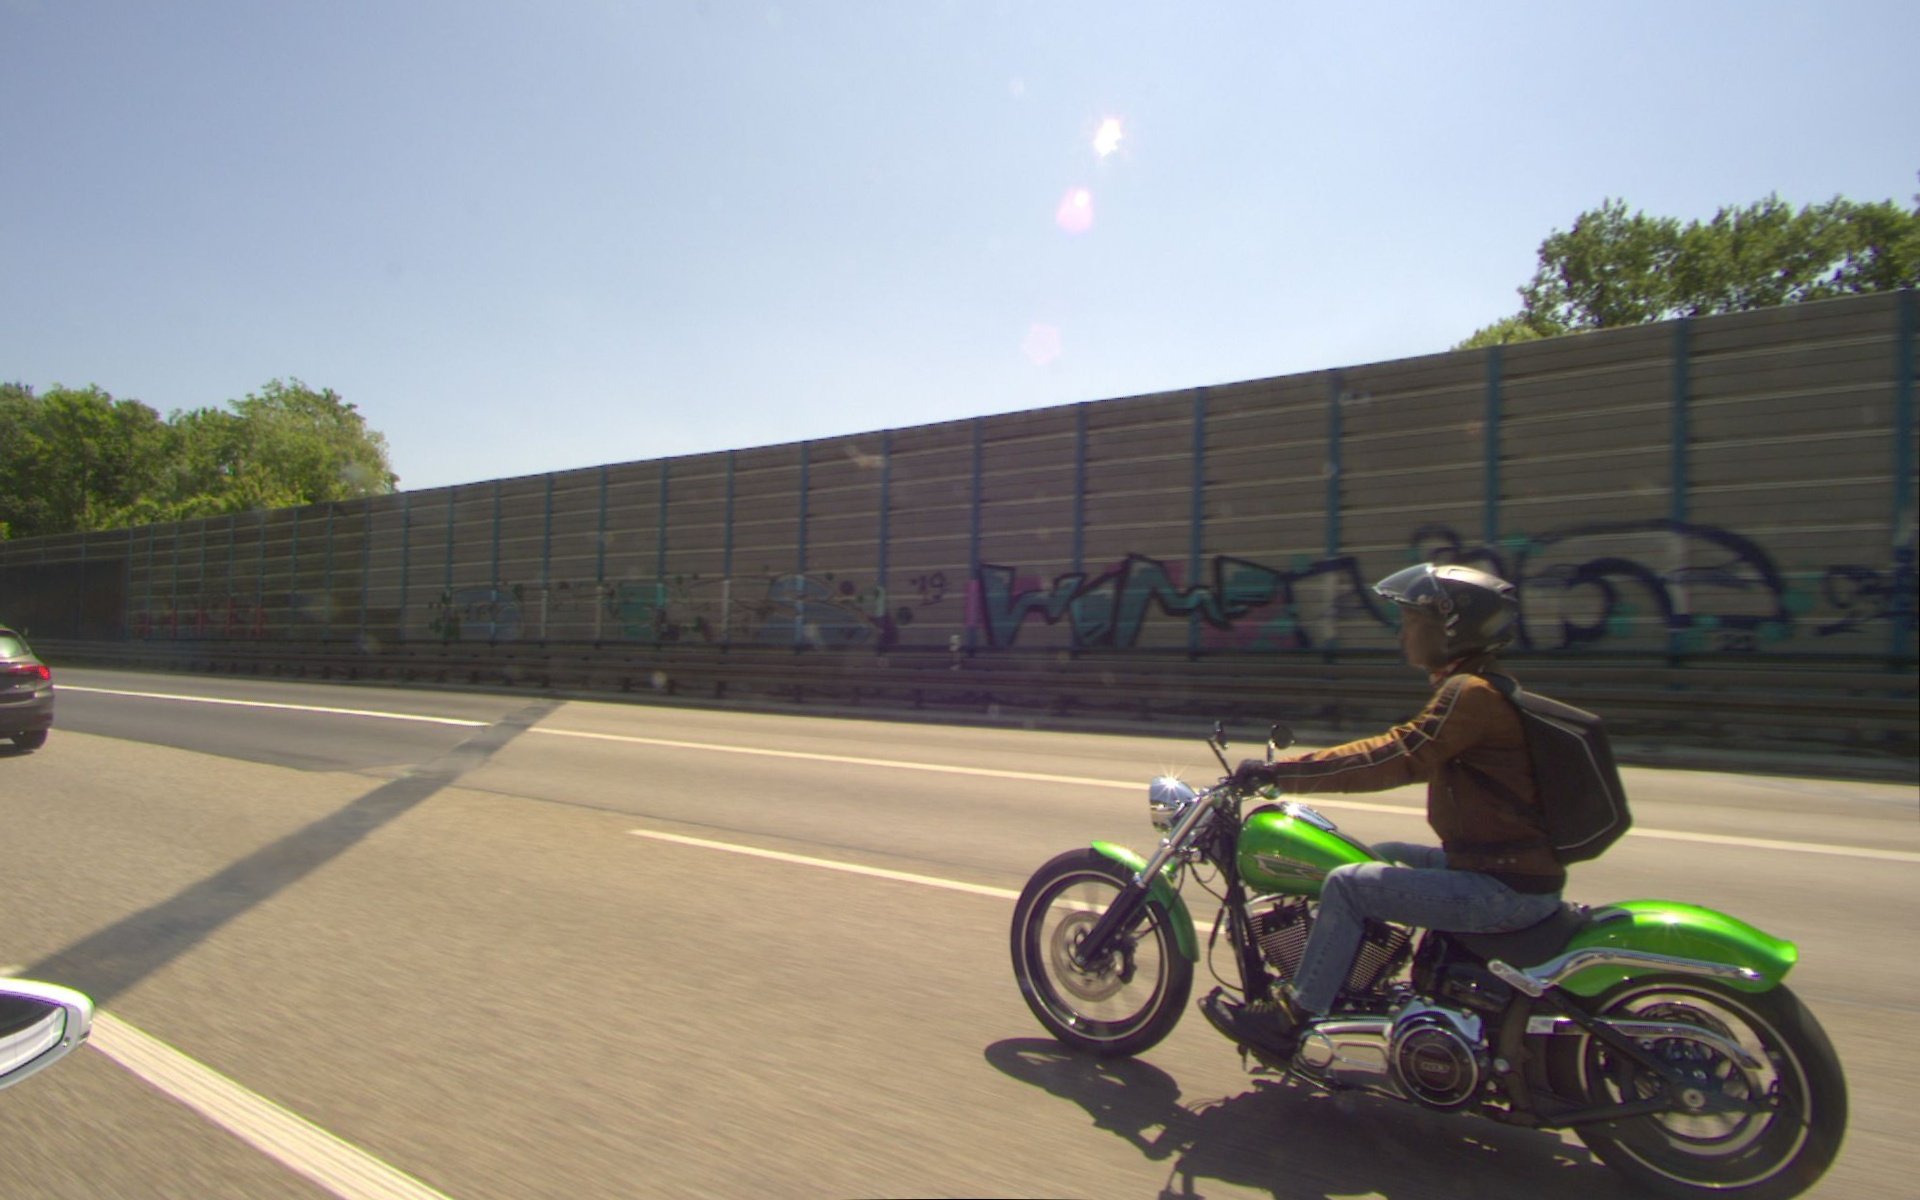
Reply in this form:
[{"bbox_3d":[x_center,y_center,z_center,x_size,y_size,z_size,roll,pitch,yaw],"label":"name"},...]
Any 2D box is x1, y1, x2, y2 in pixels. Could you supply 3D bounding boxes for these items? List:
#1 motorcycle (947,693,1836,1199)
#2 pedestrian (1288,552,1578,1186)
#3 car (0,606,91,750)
[{"bbox_3d":[1.123,0.965,3.069,2.245,1.197,0.857,0,-1,34],"label":"motorcycle"},{"bbox_3d":[1.393,0.644,2.897,0.629,1.498,0.849,0,0,34],"label":"pedestrian"},{"bbox_3d":[-12.178,0.828,11.670,4.336,1.533,1.836,0,-1,31],"label":"car"}]
